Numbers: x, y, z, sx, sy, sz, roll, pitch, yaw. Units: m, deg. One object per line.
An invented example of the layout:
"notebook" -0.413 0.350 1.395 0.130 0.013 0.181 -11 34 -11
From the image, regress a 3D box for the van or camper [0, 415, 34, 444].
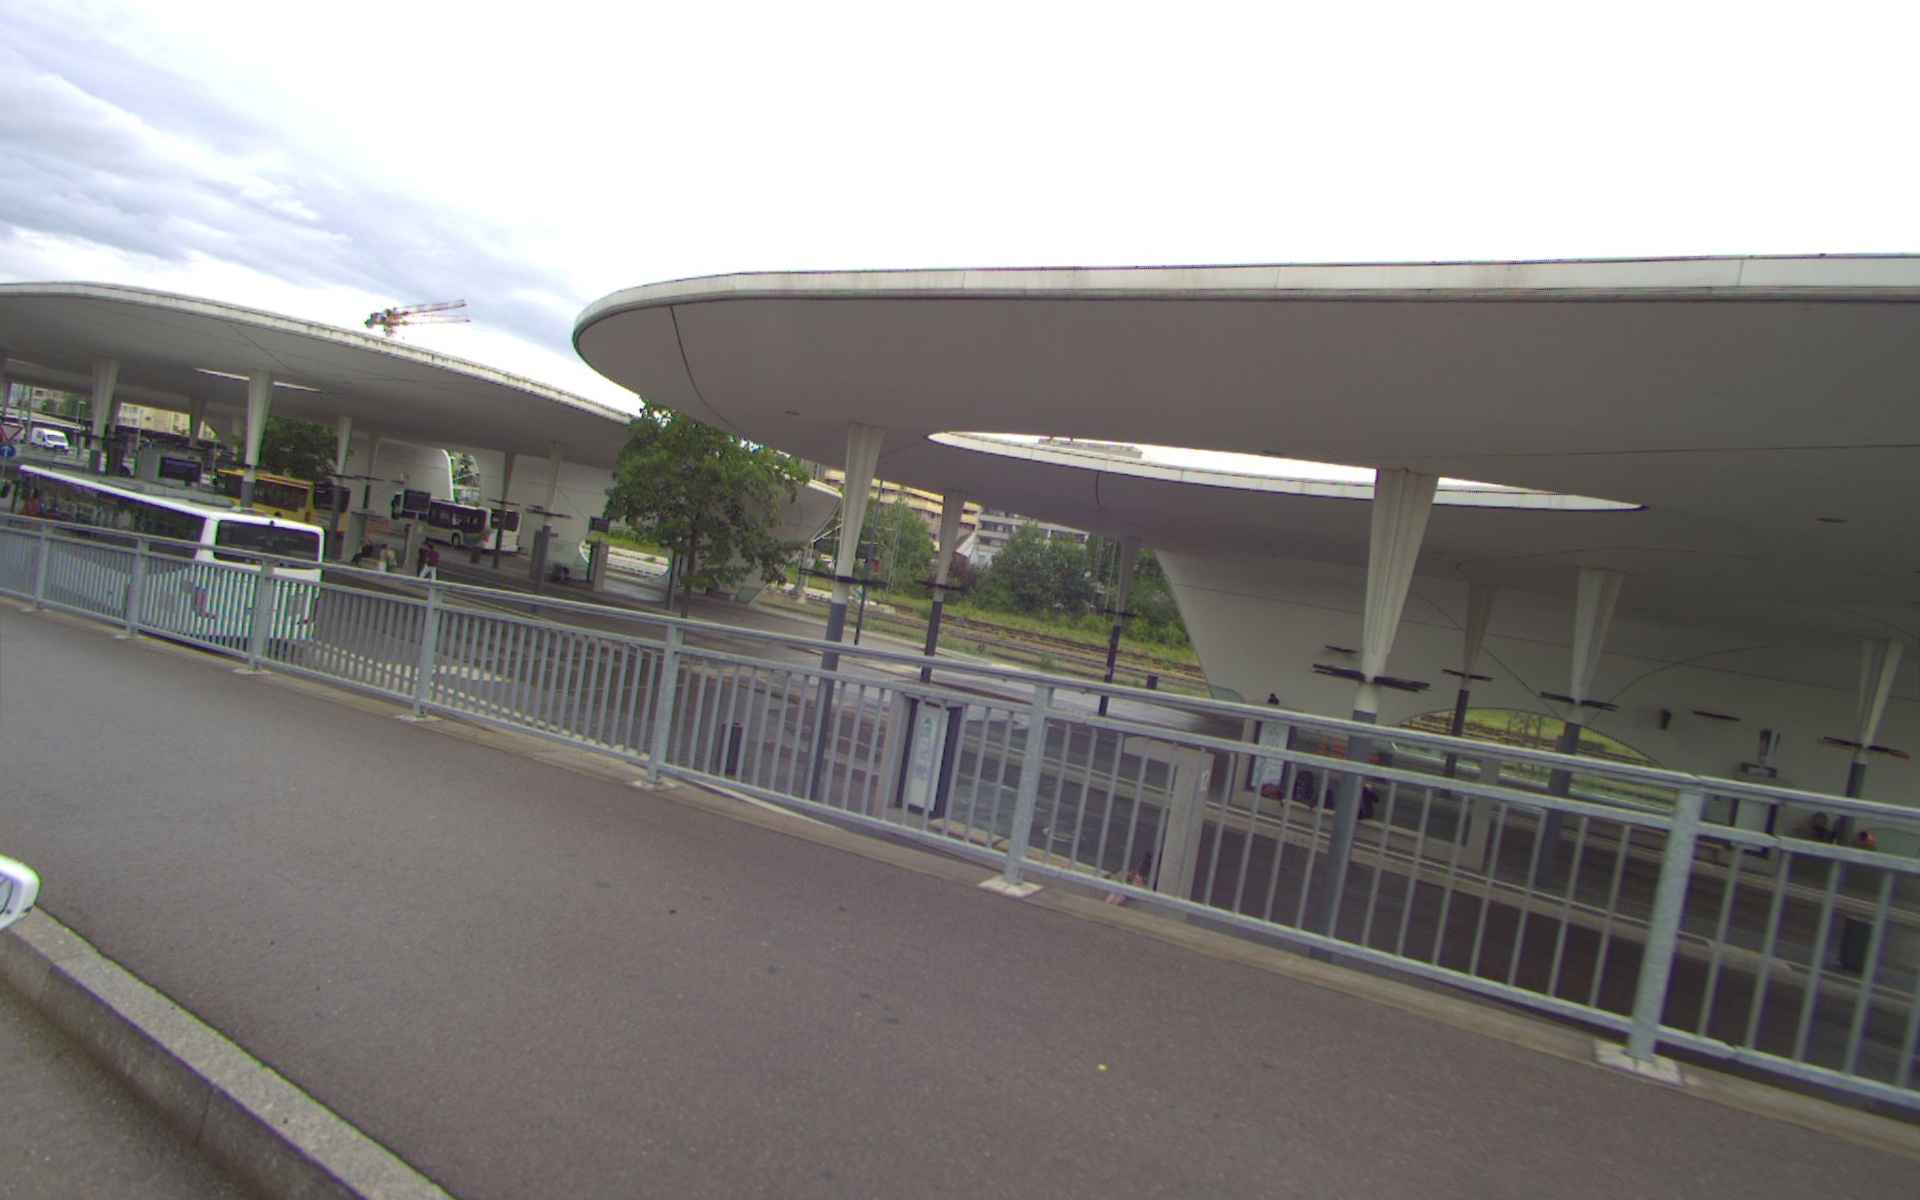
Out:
"van or camper" -108.247 -19.515 113.761 2.083 2.588 4.617 8 -1 30

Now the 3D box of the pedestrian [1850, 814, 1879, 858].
"pedestrian" 30.147 7.866 33.543 0.537 1.295 0.568 6 -1 34

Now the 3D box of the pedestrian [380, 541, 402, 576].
"pedestrian" -24.481 -1.767 43.271 0.548 1.412 0.568 11 5 37

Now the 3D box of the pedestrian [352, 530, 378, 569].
"pedestrian" -26.363 -2.219 44.575 0.666 1.608 0.590 7 -1 27

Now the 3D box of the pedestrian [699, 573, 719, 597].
"pedestrian" -15.427 -0.902 61.932 0.789 1.340 0.710 6 -2 34

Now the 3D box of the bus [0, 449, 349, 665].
"bus" -20.591 -1.300 25.758 12.216 3.401 2.851 11 1 31

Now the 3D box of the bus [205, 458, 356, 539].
"bus" -42.759 -6.404 63.094 11.933 3.300 2.791 11 4 30

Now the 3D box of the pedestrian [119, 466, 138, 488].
"pedestrian" -67.908 -10.067 82.162 0.892 1.606 0.796 9 2 25

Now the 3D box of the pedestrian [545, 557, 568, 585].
"pedestrian" -21.042 -1.496 52.465 0.790 1.340 0.709 6 -2 39

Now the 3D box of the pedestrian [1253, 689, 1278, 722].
"pedestrian" 13.354 4.611 43.986 0.700 1.340 0.799 6 -2 36

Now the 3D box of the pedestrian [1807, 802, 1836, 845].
"pedestrian" 29.263 7.579 34.171 0.576 1.285 0.568 6 -1 34

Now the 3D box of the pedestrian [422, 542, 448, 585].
"pedestrian" -21.701 -1.530 41.576 0.629 1.677 0.641 7 4 -9

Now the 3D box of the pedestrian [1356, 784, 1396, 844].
"pedestrian" 9.315 4.773 22.516 0.658 1.177 0.536 7 -1 28

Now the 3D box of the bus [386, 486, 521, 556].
"bus" -35.661 -5.604 70.511 11.769 3.302 2.466 11 5 31

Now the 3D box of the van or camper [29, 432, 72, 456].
"van or camper" -101.828 -17.476 112.622 5.388 2.128 1.997 8 0 31
